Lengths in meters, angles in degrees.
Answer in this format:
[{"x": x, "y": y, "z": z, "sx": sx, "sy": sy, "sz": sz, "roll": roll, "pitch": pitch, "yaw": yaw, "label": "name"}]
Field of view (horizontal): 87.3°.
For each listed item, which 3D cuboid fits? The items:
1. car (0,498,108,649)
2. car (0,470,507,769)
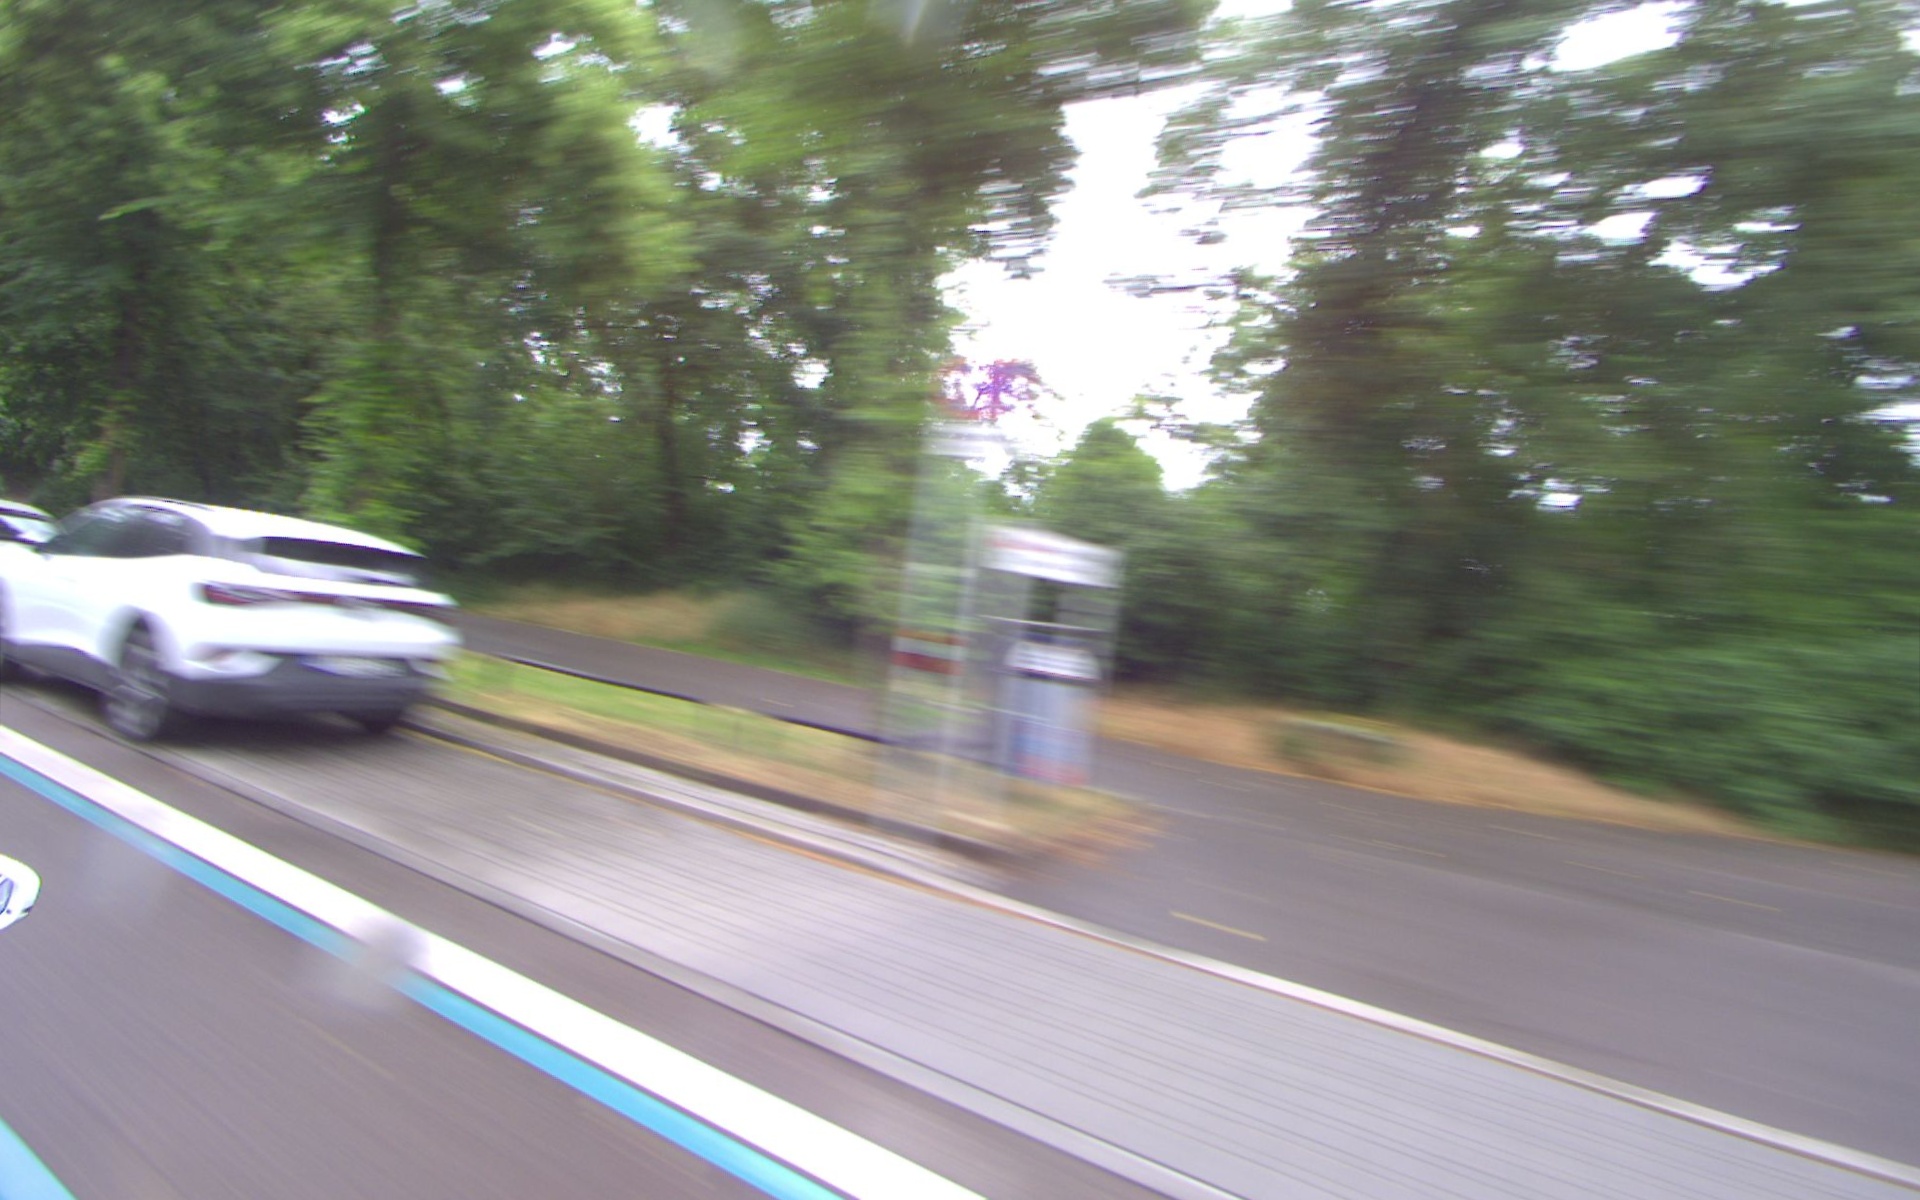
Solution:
[{"x": -11.344, "y": -0.486, "z": 11.052, "sx": 3.879, "sy": 1.470, "sz": 1.702, "roll": 7, "pitch": -1, "yaw": 30, "label": "car"}, {"x": -6.018, "y": 0.033, "z": 8.085, "sx": 4.485, "sy": 1.682, "sz": 1.997, "roll": 7, "pitch": -1, "yaw": 31, "label": "car"}]
